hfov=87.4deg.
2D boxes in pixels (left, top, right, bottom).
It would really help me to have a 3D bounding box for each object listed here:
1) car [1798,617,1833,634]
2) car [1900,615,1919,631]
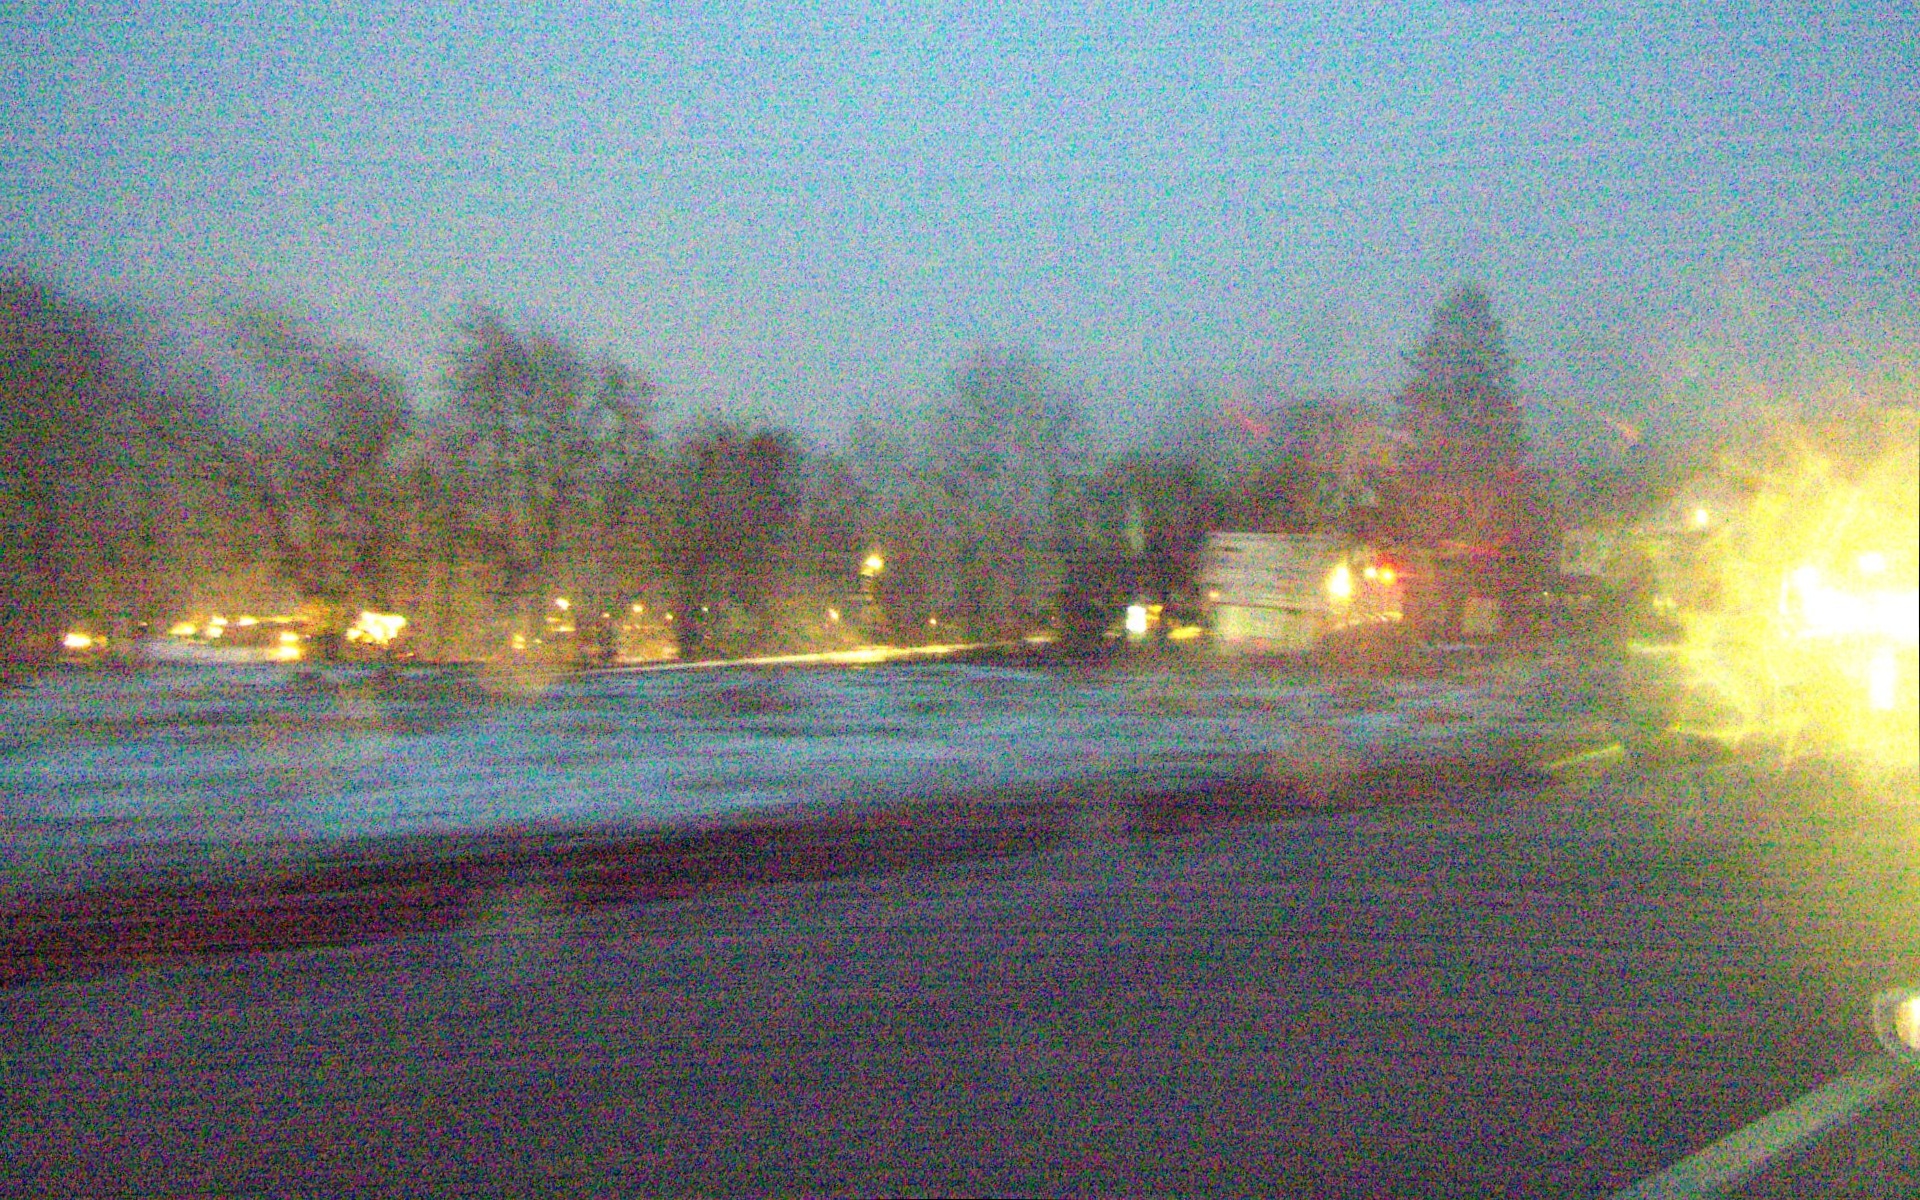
[{"bbox_3d":[77.315,2.309,90.761,4.114,1.416,1.675,-1,-1,-39],"label":"car"},{"bbox_3d":[97.312,2.321,102.049,1.930,1.542,4.385,2,0,35],"label":"car"}]
